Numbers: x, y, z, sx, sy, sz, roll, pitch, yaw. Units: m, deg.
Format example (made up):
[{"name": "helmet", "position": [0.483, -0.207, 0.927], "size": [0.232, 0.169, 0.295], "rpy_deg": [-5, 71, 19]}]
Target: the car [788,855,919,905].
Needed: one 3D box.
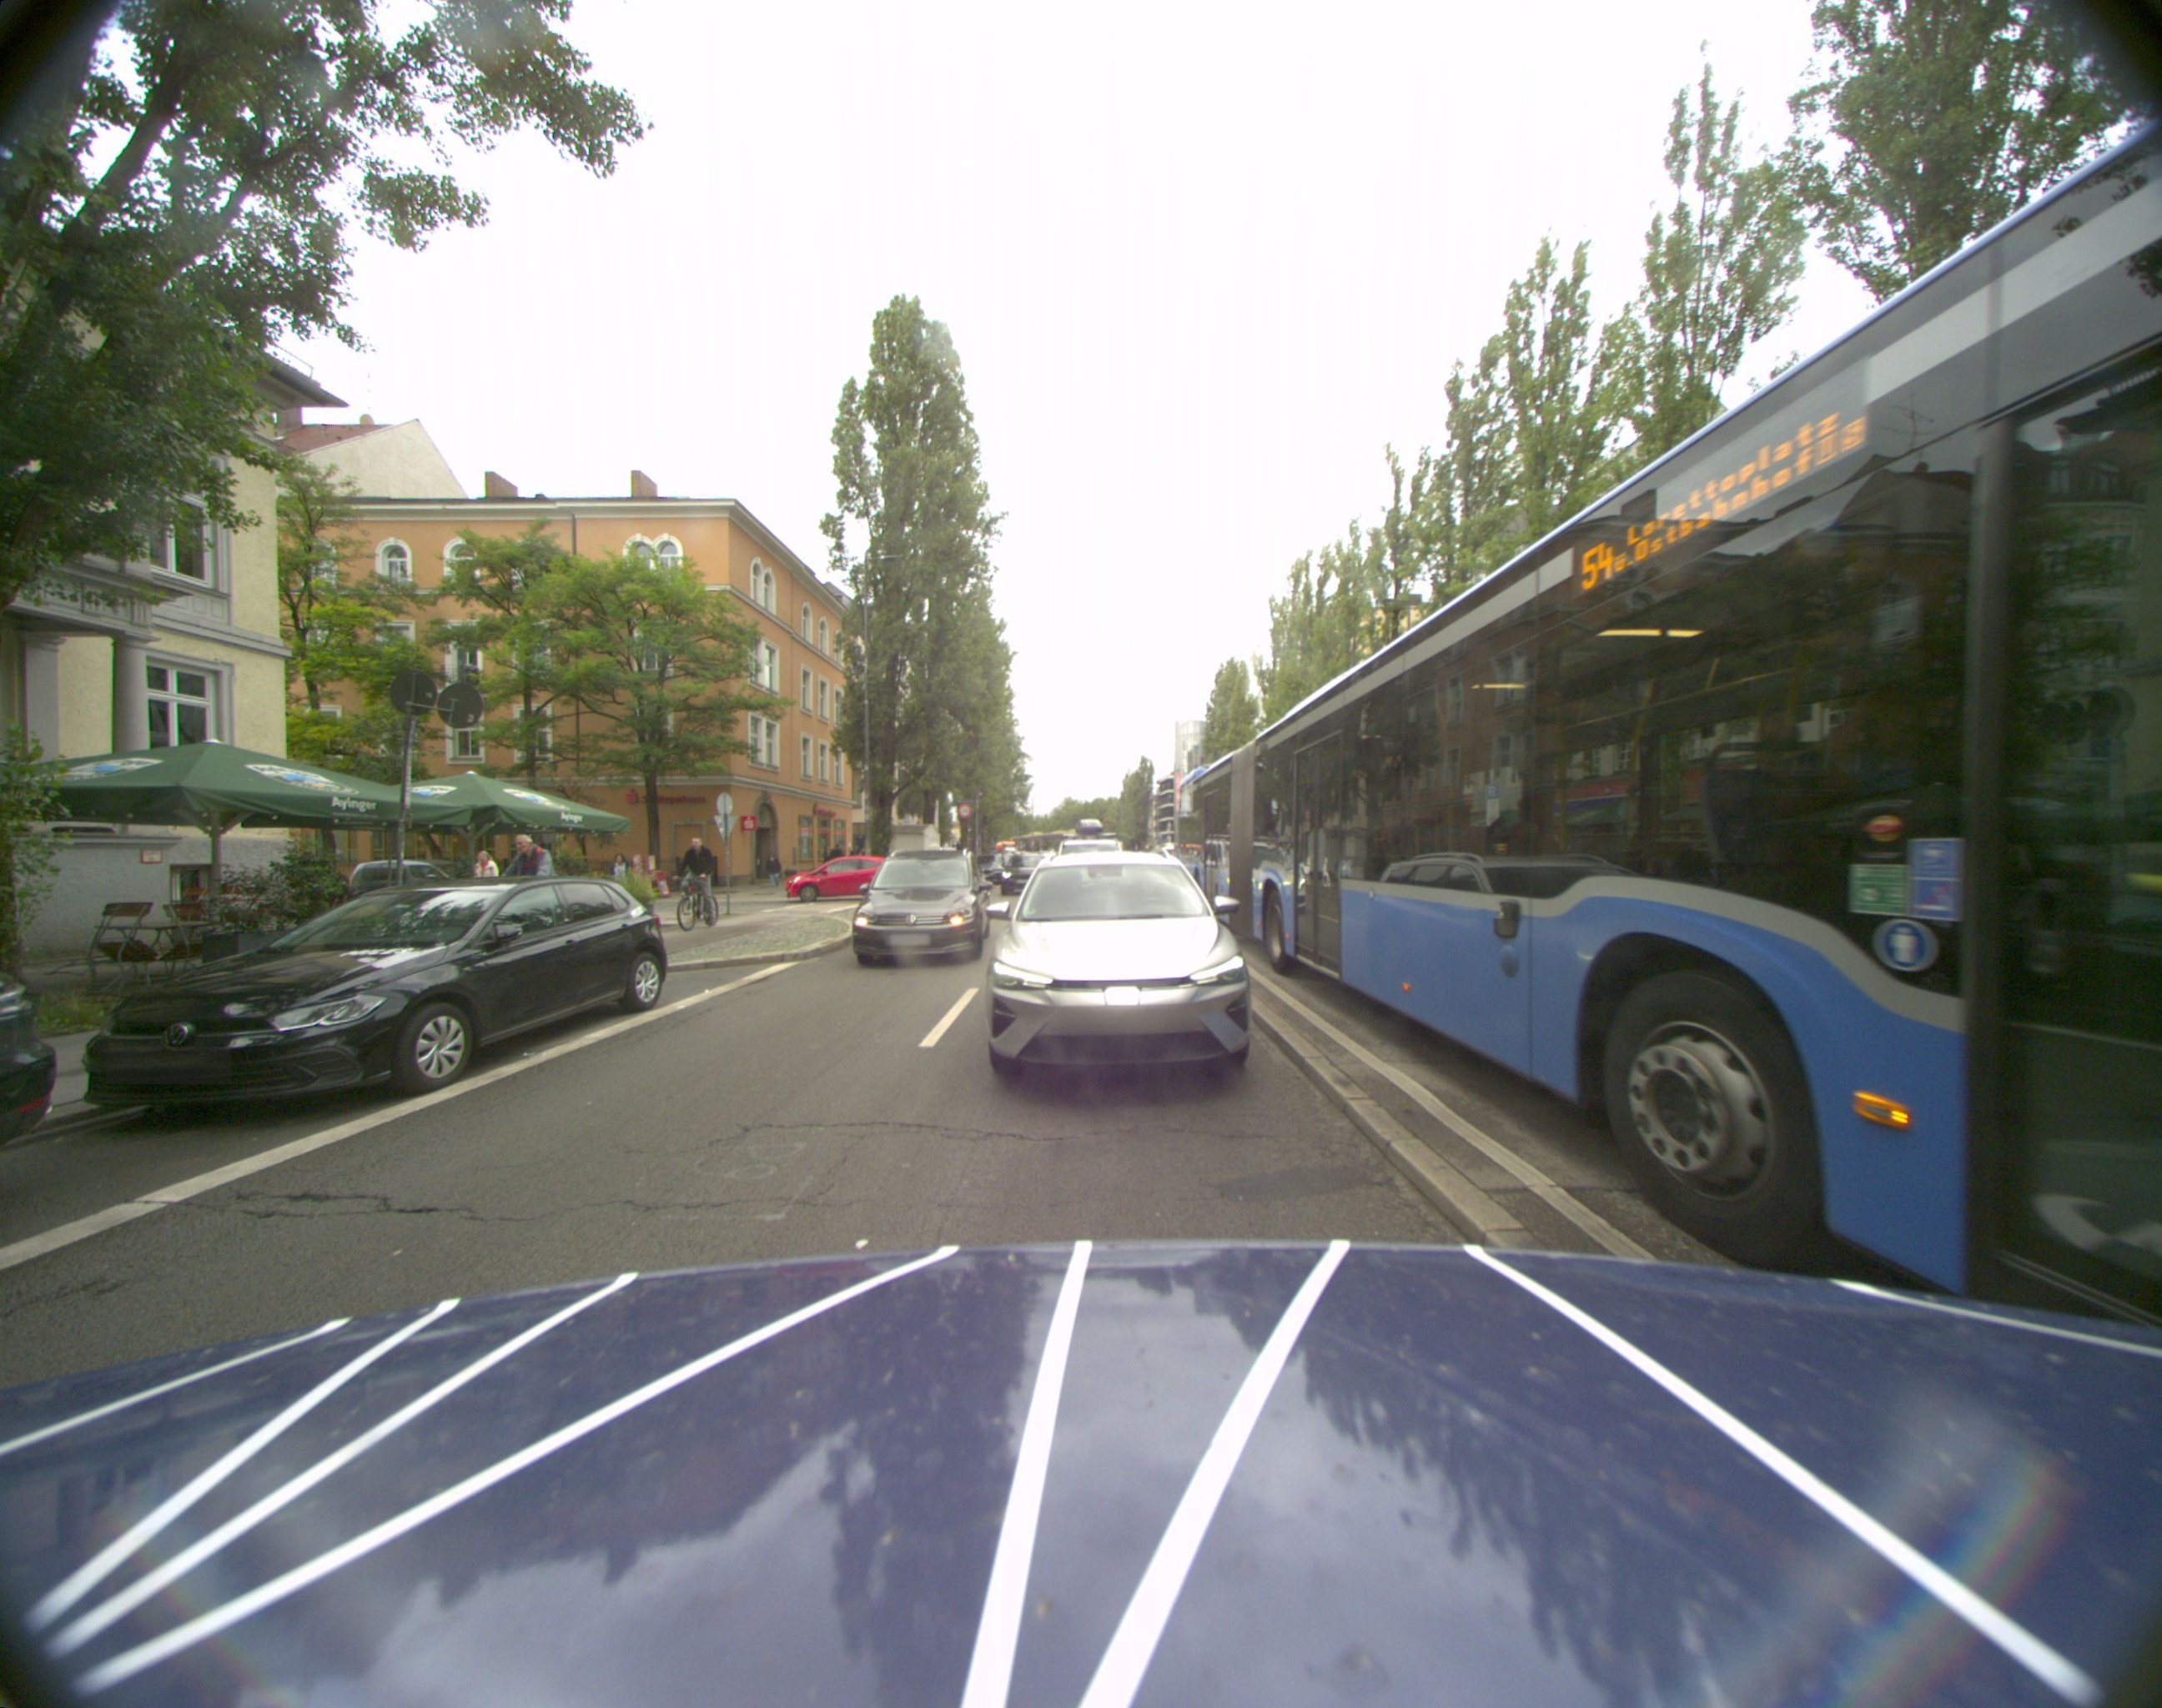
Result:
[{"name": "car", "position": [-7.526, 0.812, 25.121], "size": [4.007, 1.425, 1.614], "rpy_deg": [-2, 1, -21]}]

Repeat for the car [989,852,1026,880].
[{"name": "car", "position": [-4.525, 0.691, 47.298], "size": [1.789, 1.604, 4.498], "rpy_deg": [-2, 0, 0]}]

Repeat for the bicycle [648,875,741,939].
[{"name": "bicycle", "position": [-7.622, 1.004, 15.106], "size": [0.737, 1.113, 2.102], "rpy_deg": [-1, 1, 0]}]

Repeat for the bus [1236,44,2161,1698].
[{"name": "bus", "position": [3.290, 0.003, 4.640], "size": [2.696, 2.932, 10.051], "rpy_deg": [0, 0, 0]}]

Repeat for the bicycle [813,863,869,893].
[{"name": "bicycle", "position": [-9.304, 0.913, 29.486], "size": [1.945, 1.130, 0.561], "rpy_deg": [-1, 1, 1]}]

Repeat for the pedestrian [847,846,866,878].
[{"name": "pedestrian", "position": [-11.938, 0.441, 40.406], "size": [0.746, 1.651, 0.771], "rpy_deg": [-2, 1, -2]}]

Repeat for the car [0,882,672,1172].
[{"name": "car", "position": [-5.224, 1.028, 6.171], "size": [1.698, 1.408, 3.950], "rpy_deg": [-1, 0, -1]}]

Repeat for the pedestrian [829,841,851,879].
[{"name": "pedestrian", "position": [-12.698, 0.320, 40.090], "size": [0.840, 1.938, 0.802], "rpy_deg": [-2, 1, -1]}]

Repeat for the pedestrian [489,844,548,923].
[{"name": "pedestrian", "position": [-12.988, 0.668, 17.556], "size": [0.699, 1.756, 0.732], "rpy_deg": [-2, 1, 4]}]

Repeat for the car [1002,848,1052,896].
[{"name": "car", "position": [-2.048, 0.646, 29.706], "size": [1.706, 1.683, 4.002], "rpy_deg": [-3, 0, -2]}]

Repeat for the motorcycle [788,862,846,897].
[{"name": "motorcycle", "position": [-9.691, 0.934, 27.881], "size": [1.963, 1.214, 0.514], "rpy_deg": [-1, 1, -25]}]

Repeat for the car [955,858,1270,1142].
[{"name": "car", "position": [0.187, 0.846, 6.348], "size": [1.742, 1.510, 4.033], "rpy_deg": [-2, 0, 0]}]

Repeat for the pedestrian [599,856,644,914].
[{"name": "pedestrian", "position": [-12.773, 0.848, 21.143], "size": [0.745, 1.562, 0.664], "rpy_deg": [-2, 1, 3]}]

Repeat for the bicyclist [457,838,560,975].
[{"name": "bicyclist", "position": [-7.596, 0.668, 10.117], "size": [0.831, 1.747, 0.667], "rpy_deg": [-1, 1, -7]}]

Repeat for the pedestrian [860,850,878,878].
[{"name": "pedestrian", "position": [-11.869, 0.557, 42.456], "size": [0.745, 1.562, 0.614], "rpy_deg": [-2, 1, 3]}]

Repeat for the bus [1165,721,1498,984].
[{"name": "bus", "position": [3.367, -0.049, 13.544], "size": [2.690, 2.932, 10.051], "rpy_deg": [0, 0, 0]}]

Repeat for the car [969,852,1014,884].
[{"name": "car", "position": [-4.644, 0.701, 39.940], "size": [1.789, 1.544, 4.498], "rpy_deg": [-2, 0, 0]}]

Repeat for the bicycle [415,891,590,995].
[{"name": "bicycle", "position": [-7.625, 1.117, 10.185], "size": [0.887, 1.113, 2.100], "rpy_deg": [-1, 1, -6]}]

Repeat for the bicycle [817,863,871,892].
[{"name": "bicycle", "position": [-9.398, 0.926, 30.137], "size": [1.945, 1.082, 0.561], "rpy_deg": [-1, 1, 1]}]

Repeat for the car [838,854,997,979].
[{"name": "car", "position": [-2.402, 0.836, 12.218], "size": [1.883, 1.582, 4.190], "rpy_deg": [-2, 0, -4]}]

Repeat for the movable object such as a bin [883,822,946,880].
[{"name": "movable object such as a bin", "position": [-9.388, -0.186, 43.273], "size": [2.445, 3.119, 4.543], "rpy_deg": [1, 1, 1]}]

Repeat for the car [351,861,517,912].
[{"name": "car", "position": [-22.246, 1.087, 26.256], "size": [3.997, 1.511, 1.906], "rpy_deg": [-2, 1, -1]}]

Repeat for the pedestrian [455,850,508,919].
[{"name": "pedestrian", "position": [-14.001, 0.691, 17.750], "size": [0.699, 1.562, 0.575], "rpy_deg": [-2, 1, 3]}]

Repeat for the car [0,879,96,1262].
[{"name": "car", "position": [-5.526, 0.975, 1.316], "size": [1.808, 1.628, 4.446], "rpy_deg": [-2, 1, -1]}]

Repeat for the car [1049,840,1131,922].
[{"name": "car", "position": [0.208, 0.575, 20.046], "size": [1.839, 1.831, 5.129], "rpy_deg": [-2, 1, 0]}]

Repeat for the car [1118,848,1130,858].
[{"name": "car", "position": [6.891, -0.125, 122.605], "size": [1.718, 1.532, 4.076], "rpy_deg": [1, 0, 1]}]

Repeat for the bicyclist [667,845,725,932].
[{"name": "bicyclist", "position": [-7.628, 0.664, 15.094], "size": [0.741, 1.677, 0.748], "rpy_deg": [-1, 1, 0]}]

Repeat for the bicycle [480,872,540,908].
[{"name": "bicycle", "position": [-22.771, 1.418, 30.325], "size": [1.945, 1.364, 0.561], "rpy_deg": [-2, 1, 1]}]
